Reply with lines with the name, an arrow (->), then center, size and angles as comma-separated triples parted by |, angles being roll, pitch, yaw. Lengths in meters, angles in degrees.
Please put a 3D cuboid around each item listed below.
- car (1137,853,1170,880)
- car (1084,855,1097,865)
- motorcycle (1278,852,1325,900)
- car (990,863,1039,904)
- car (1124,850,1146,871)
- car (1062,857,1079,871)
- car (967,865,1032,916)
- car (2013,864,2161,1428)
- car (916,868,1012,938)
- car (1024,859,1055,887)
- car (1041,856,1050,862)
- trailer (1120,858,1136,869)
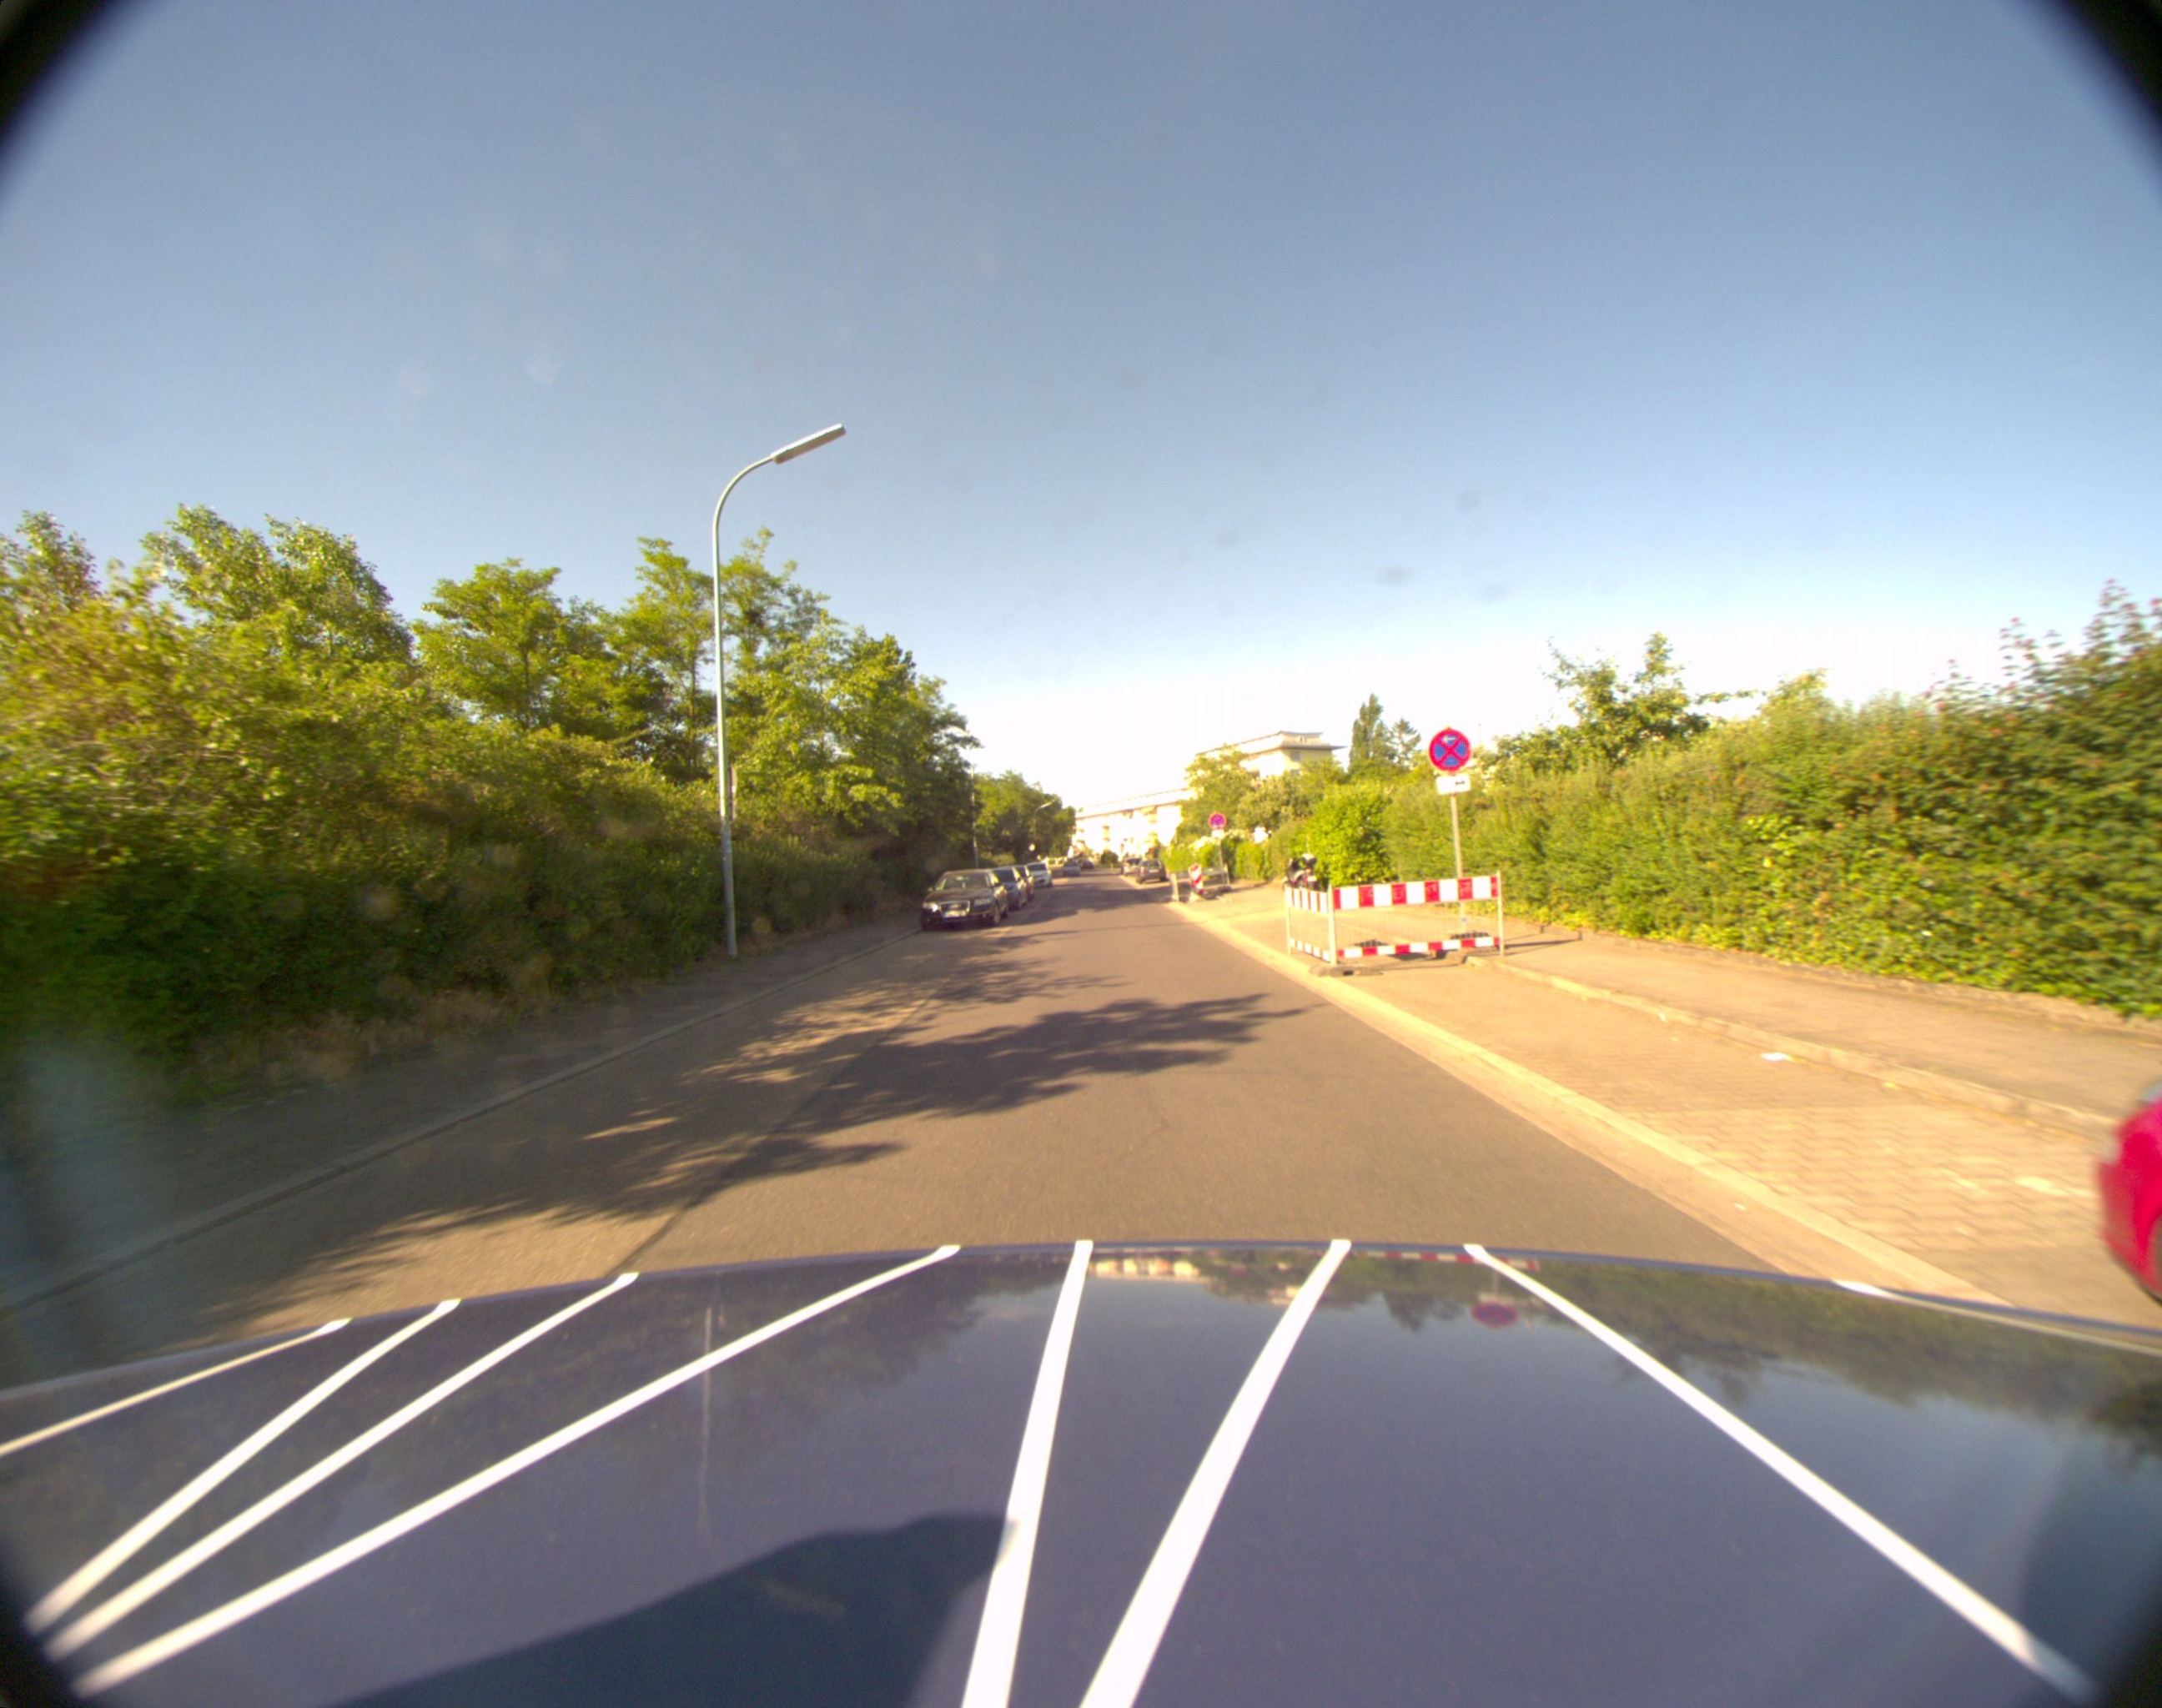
car -> 4.470, 0.741, 47.228 | 1.647, 1.547, 4.417 | -2, 0, 1
car -> 1.509, 1.003, 123.595 | 1.732, 1.455, 4.681 | -2, -1, -4
motorcycle -> 6.274, 0.585, 21.738 | 0.568, 1.261, 2.090 | -4, 1, -3
car -> -2.801, 1.220, 32.768 | 1.659, 1.477, 3.838 | -5, 0, 0
car -> 4.567, 0.512, 64.944 | 1.647, 1.590, 4.312 | -4, 0, 3
car -> -1.039, 0.966, 75.938 | 1.597, 1.417, 4.170 | 0, 0, -1
car -> -2.786, 1.219, 26.875 | 1.659, 1.436, 4.656 | -5, 0, 0
car -> 3.623, 0.767, 0.534 | 1.563, 1.486, 3.570 | -2, 0, 1
car -> -2.955, 1.199, 20.192 | 1.758, 1.405, 4.656 | -5, 0, 0
car -> -2.533, 1.163, 47.362 | 1.559, 1.529, 3.555 | -5, 0, 1
car -> -10.920, 1.596, 233.954 | 2.008, 1.837, 4.612 | -5, 0, -9
trailer -> 4.681, 0.964, 75.988 | 1.547, 0.948, 2.647 | -4, 0, 3
